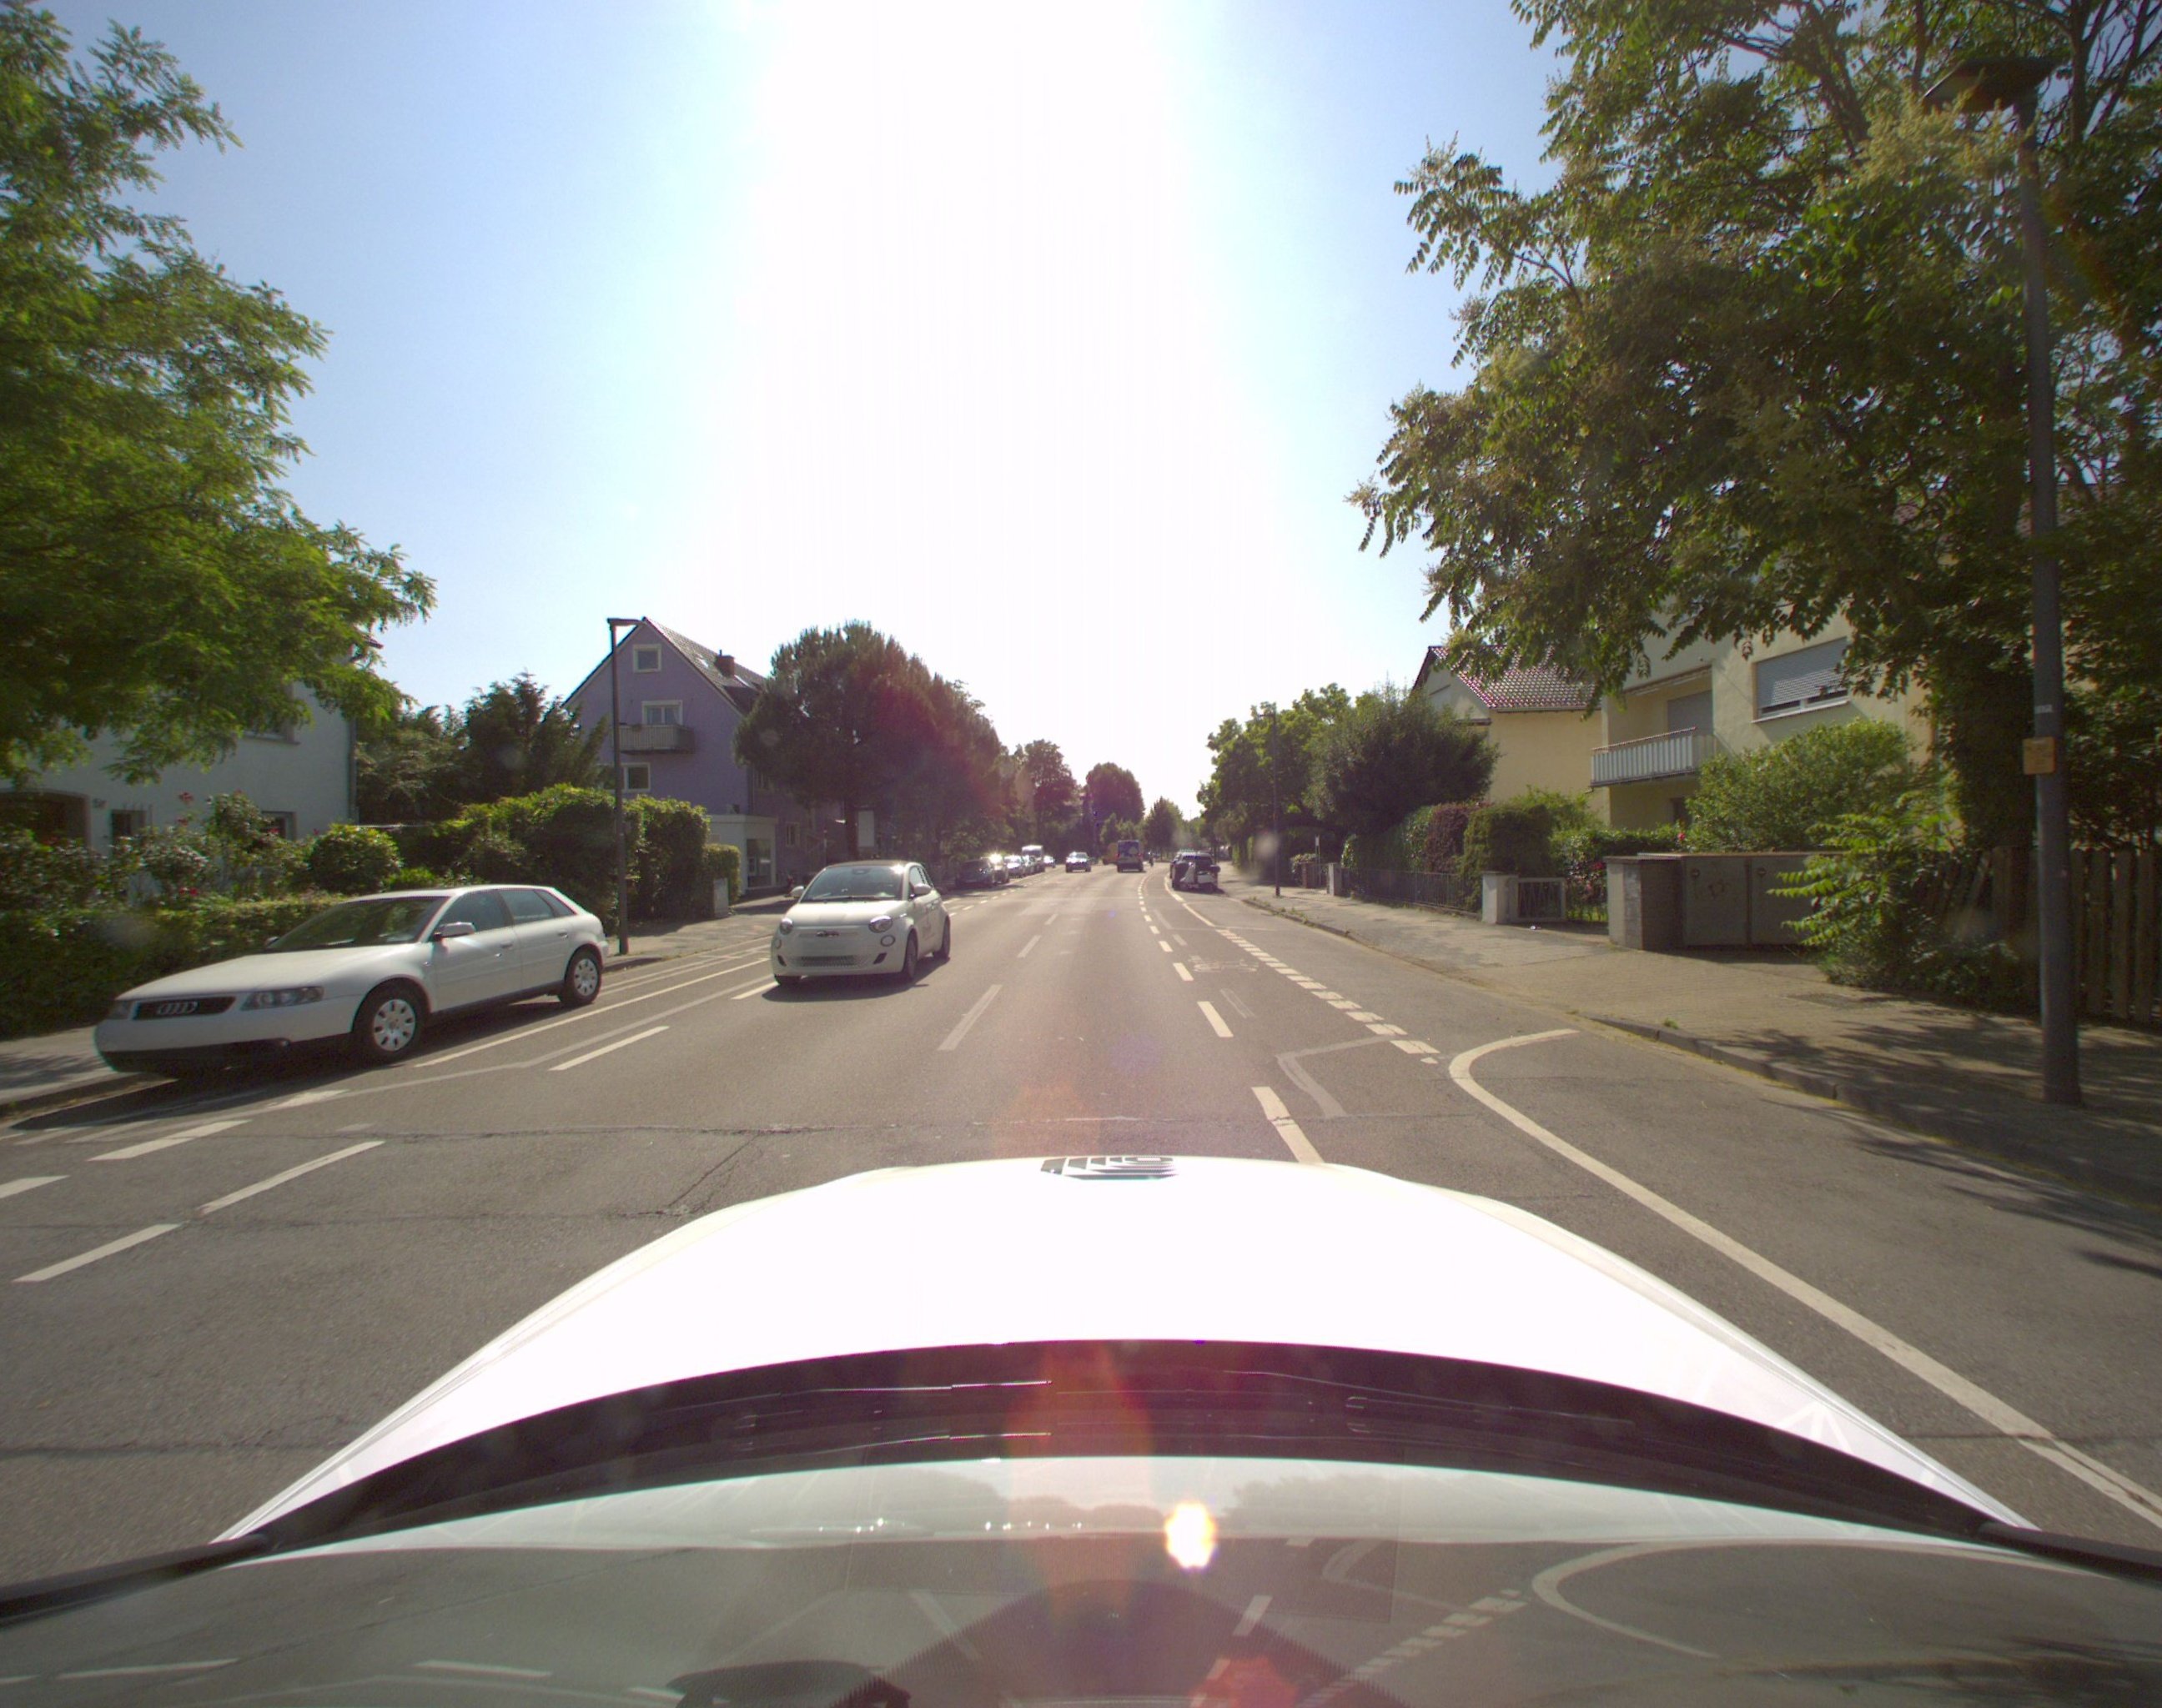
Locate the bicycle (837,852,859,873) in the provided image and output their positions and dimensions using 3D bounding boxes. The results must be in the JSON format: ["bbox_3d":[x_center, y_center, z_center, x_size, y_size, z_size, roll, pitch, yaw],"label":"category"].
[{"bbox_3d":[-13.551,0.476,47.347,0.532,1.181,1.453,-1,1,16],"label":"bicycle"}]

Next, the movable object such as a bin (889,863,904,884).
[{"bbox_3d":[-9.870,1.040,43.562,0.602,1.111,0.664,-1,-1,7],"label":"movable object such as a bin"}]

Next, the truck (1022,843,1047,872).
[{"bbox_3d":[-4.351,0.315,76.301,2.075,2.537,5.464,-1,0,-1],"label":"truck"}]

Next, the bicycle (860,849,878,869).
[{"bbox_3d":[-12.572,0.309,48.386,0.534,1.182,1.448,-1,-1,5],"label":"bicycle"}]

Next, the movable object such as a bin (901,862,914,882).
[{"bbox_3d":[-9.590,0.989,44.947,0.541,1.111,0.586,-1,-1,7],"label":"movable object such as a bin"}]

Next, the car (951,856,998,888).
[{"bbox_3d":[-5.449,0.893,42.229,1.775,1.460,4.086,-3,0,1],"label":"car"}]

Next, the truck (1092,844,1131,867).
[{"bbox_3d":[3.966,0.240,106.404,2.229,2.946,5.628,0,-1,-32],"label":"truck"}]

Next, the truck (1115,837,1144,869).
[{"bbox_3d":[4.094,-0.055,68.380,2.262,2.571,4.397,-1,-1,4],"label":"truck"}]

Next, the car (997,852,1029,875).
[{"bbox_3d":[-4.882,0.715,58.904,1.827,1.595,3.777,-1,-1,3],"label":"car"}]

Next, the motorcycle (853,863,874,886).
[{"bbox_3d":[-11.438,1.055,42.919,0.534,1.182,1.449,-1,-1,7],"label":"motorcycle"}]

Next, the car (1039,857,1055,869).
[{"bbox_3d":[-4.062,1.075,97.920,1.748,1.343,3.653,-1,0,0],"label":"car"}]

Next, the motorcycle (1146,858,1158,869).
[{"bbox_3d":[7.471,0.994,85.867,1.052,1.122,2.993,-1,-1,2],"label":"motorcycle"}]

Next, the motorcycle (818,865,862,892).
[{"bbox_3d":[-11.115,1.126,37.608,1.830,1.182,0.644,-1,-1,6],"label":"motorcycle"}]

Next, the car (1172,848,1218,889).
[{"bbox_3d":[5.043,0.595,35.614,1.774,1.638,4.482,1,0,10],"label":"car"}]

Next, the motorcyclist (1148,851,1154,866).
[{"bbox_3d":[7.386,0.482,85.806,0.669,1.519,0.653,-1,-1,3],"label":"motorcyclist"}]

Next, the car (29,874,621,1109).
[{"bbox_3d":[-6.494,1.021,7.775,1.779,1.440,4.000,-4,0,1],"label":"car"}]

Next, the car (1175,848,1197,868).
[{"bbox_3d":[9.011,0.329,69.996,1.692,1.677,3.779,-1,0,5],"label":"car"}]

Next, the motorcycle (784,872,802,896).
[{"bbox_3d":[-13.005,1.346,36.735,0.643,0.990,2.339,0,0,-22],"label":"motorcycle"}]

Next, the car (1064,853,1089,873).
[{"bbox_3d":[-0.354,0.792,71.570,1.985,1.657,4.607,-1,0,2],"label":"car"}]

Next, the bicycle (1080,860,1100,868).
[{"bbox_3d":[1.241,1.455,115.136,2.685,1.047,1.024,-1,-1,-7],"label":"bicycle"}]

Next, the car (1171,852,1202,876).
[{"bbox_3d":[6.484,0.602,50.368,1.775,1.399,4.332,-1,0,6],"label":"car"}]

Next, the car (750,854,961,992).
[{"bbox_3d":[-2.913,0.821,11.453,1.726,1.541,4.000,-2,-1,1],"label":"car"}]

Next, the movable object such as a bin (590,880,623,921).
[{"bbox_3d":[-11.995,1.173,20.606,0.479,0.990,0.531,0,-1,22],"label":"movable object such as a bin"}]

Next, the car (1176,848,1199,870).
[{"bbox_3d":[8.534,0.366,64.870,1.690,1.677,3.784,-1,0,9],"label":"car"}]

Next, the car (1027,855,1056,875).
[{"bbox_3d":[-3.126,0.867,64.841,1.826,1.496,3.659,-1,0,5],"label":"car"}]

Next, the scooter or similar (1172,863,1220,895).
[{"bbox_3d":[4.626,1.000,32.797,0.724,1.154,1.775,3,-1,-44],"label":"scooter or similar"}]

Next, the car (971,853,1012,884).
[{"bbox_3d":[-5.224,0.813,48.017,1.903,1.677,4.257,-2,0,-1],"label":"car"}]
